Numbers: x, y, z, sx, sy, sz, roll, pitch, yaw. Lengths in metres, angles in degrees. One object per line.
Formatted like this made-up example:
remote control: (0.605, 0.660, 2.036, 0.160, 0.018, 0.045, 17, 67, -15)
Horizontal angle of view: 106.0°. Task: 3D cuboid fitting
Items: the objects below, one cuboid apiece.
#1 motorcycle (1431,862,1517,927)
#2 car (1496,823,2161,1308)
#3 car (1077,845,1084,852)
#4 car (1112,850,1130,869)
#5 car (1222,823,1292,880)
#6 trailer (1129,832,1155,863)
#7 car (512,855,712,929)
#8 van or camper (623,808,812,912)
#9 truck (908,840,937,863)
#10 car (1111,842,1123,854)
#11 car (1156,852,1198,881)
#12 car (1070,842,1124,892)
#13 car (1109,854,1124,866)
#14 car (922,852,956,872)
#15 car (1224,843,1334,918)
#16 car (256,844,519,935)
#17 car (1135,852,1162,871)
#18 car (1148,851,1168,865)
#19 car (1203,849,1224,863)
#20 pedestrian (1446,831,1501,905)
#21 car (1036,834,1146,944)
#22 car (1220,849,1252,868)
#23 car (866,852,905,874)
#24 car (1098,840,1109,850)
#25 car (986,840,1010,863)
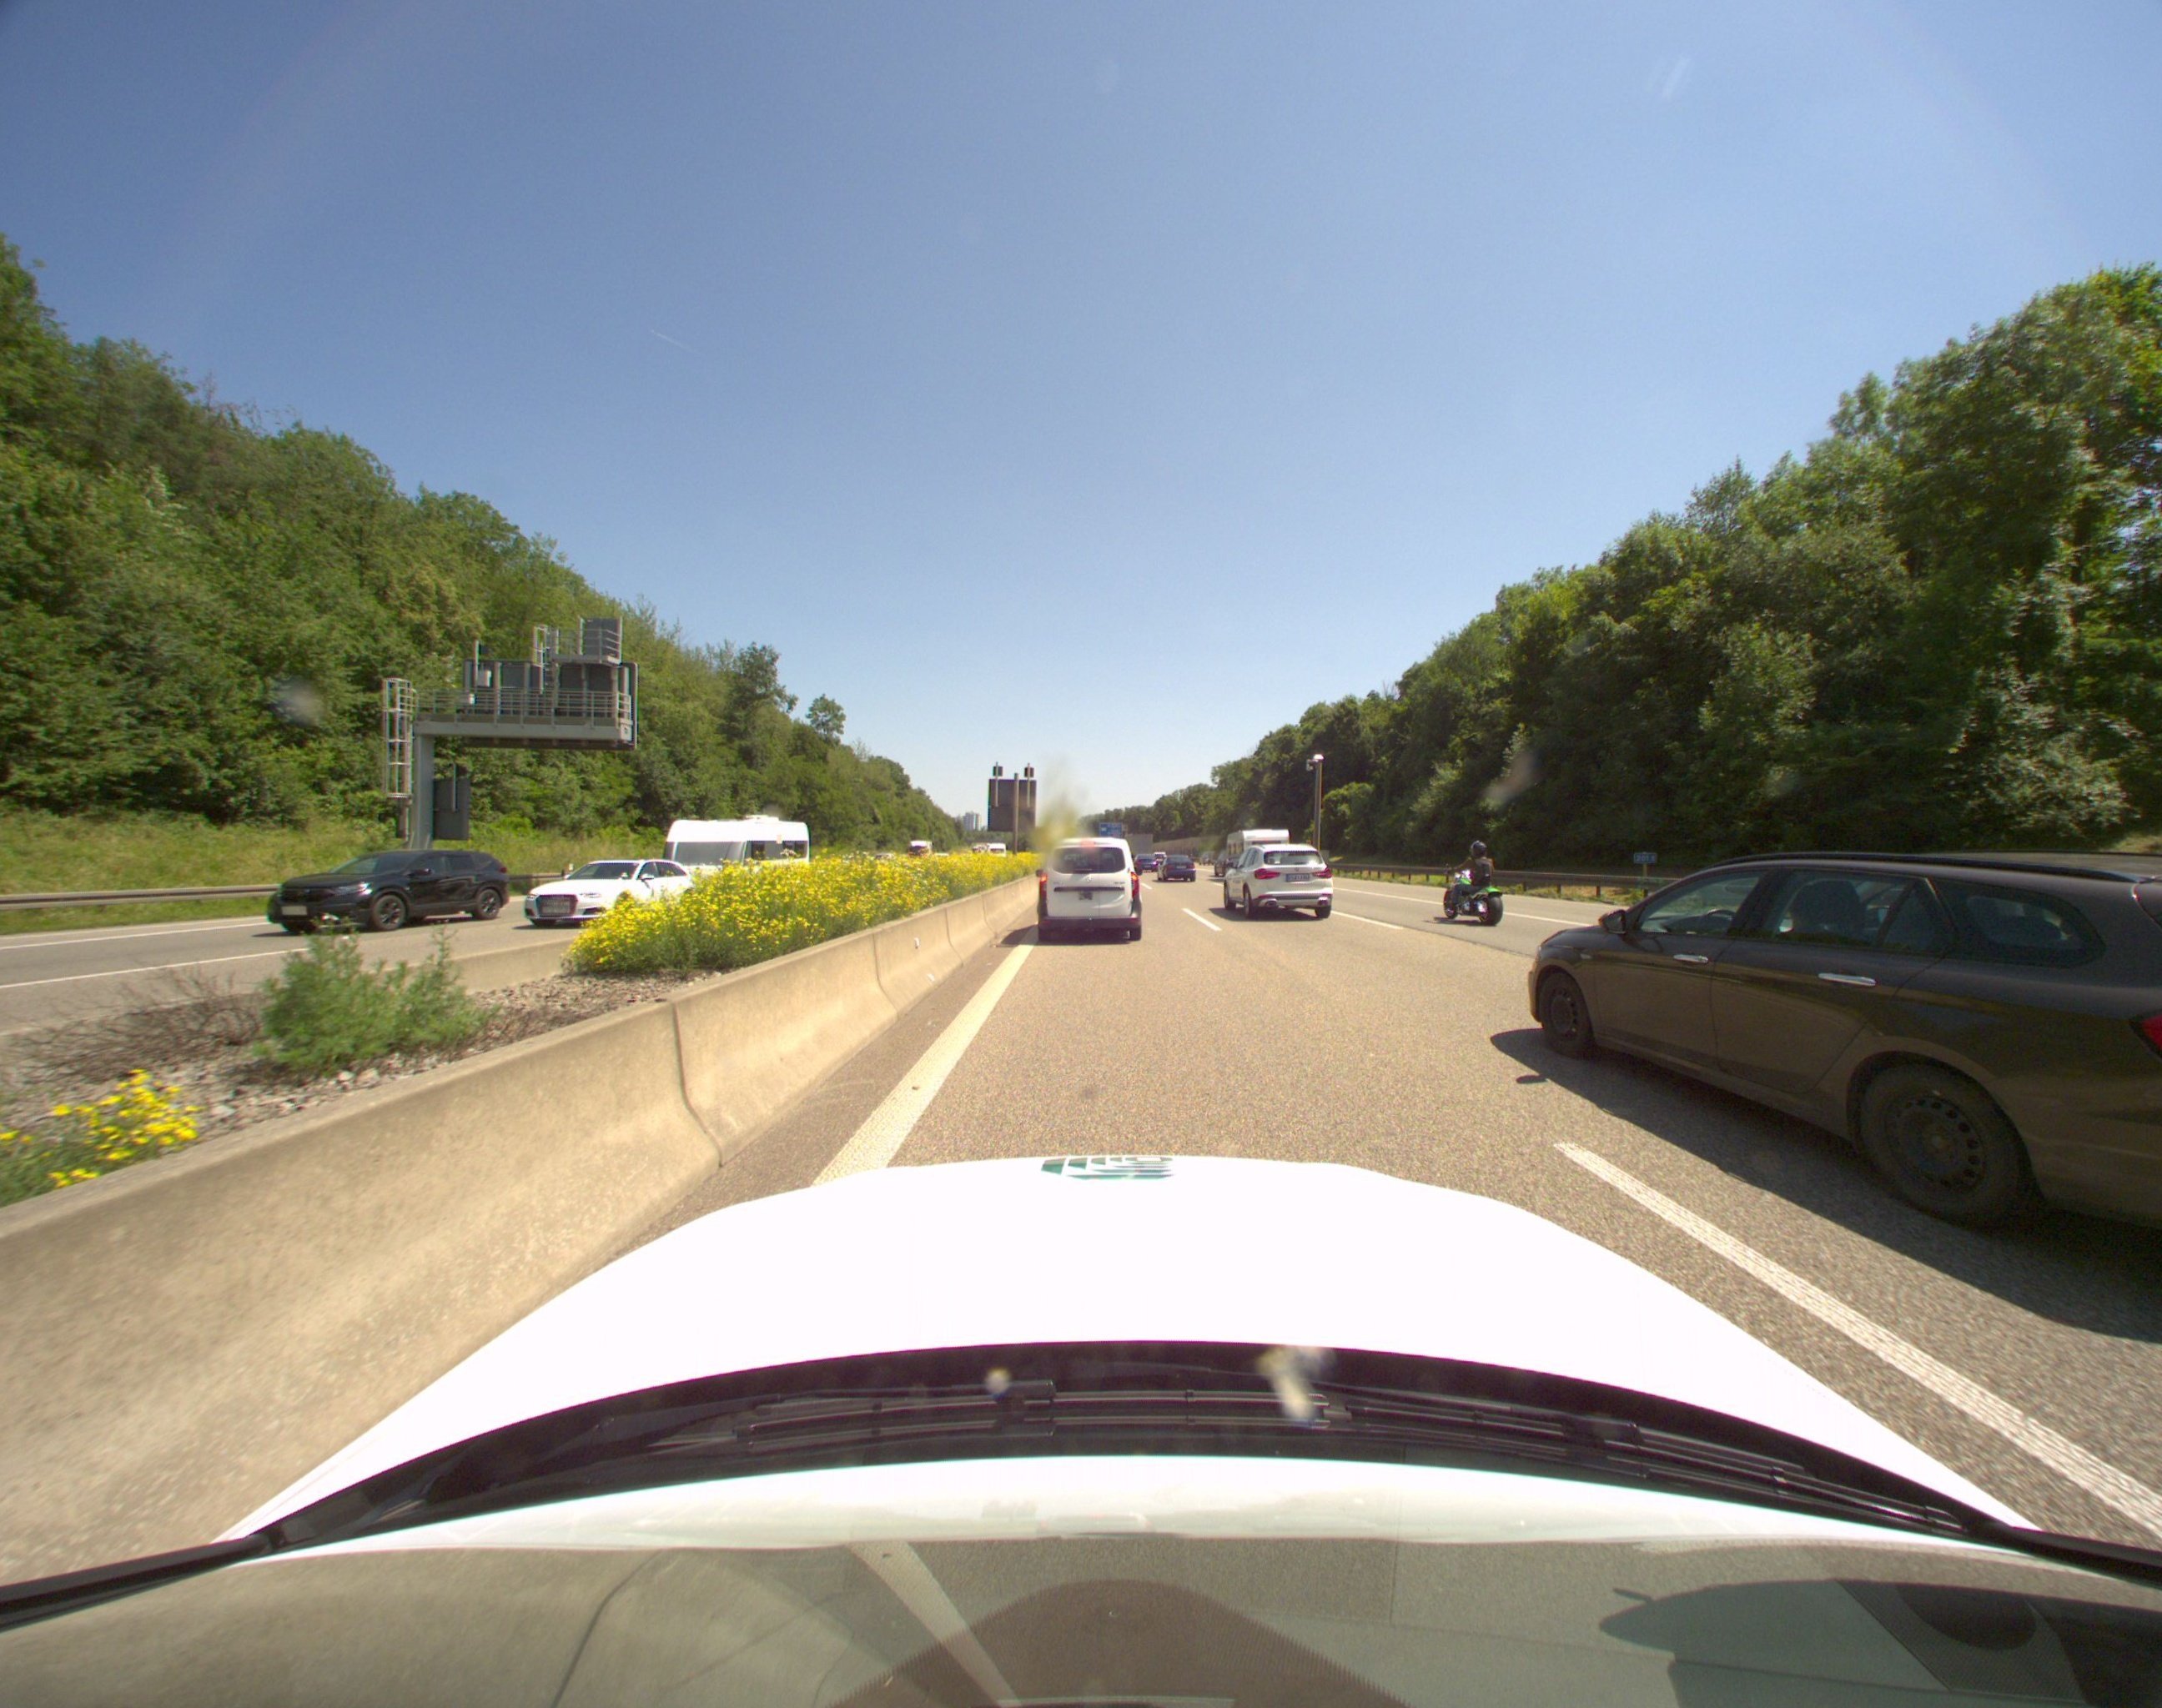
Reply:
motorcycle: (7.993, 0.776, 16.680, 0.855, 1.181, 2.280, 0, 1, 6)
car: (4.318, 0.633, 4.531, 1.832, 1.513, 4.402, 0, 1, 1)
car: (-0.194, -1.633, 243.717, 1.986, 2.013, 4.001, 0, 0, 1)
car: (4.252, 0.562, 87.019, 1.817, 1.989, 4.001, 0, 0, 1)
car: (9.216, -0.122, 43.211, 2.470, 2.765, 6.221, 0, 0, 1)
trailer: (8.166, -0.896, 110.225, 3.071, 3.985, 10.326, 0, 0, 1)
car: (-10.366, 0.754, 18.480, 1.749, 1.439, 4.611, -1, 0, 2)
van or camper: (-10.506, 0.140, 24.512, 2.301, 2.636, 7.399, -1, 0, 0)
truck: (-21.458, -0.393, 110.660, 2.398, 3.005, 7.458, 0, 0, 0)
car: (6.664, -1.106, 151.361, 1.986, 2.013, 4.001, -1, 0, 1)
car: (4.955, 0.608, 42.401, 1.817, 1.424, 4.001, 0, 0, 1)
car: (0.647, 0.495, 32.642, 1.986, 1.860, 4.001, 0, 0, 1)
car: (4.689, 0.760, 107.785, 1.817, 1.447, 4.001, 0, 0, 1)
car: (-11.531, 0.621, 66.434, 1.986, 1.574, 4.001, -1, 0, 1)
car: (4.608, 0.565, 19.468, 1.863, 1.608, 3.882, 0, 0, 3)
car: (-14.483, 0.656, 17.429, 1.749, 1.696, 4.424, -1, 0, 2)
car: (5.174, 0.553, 62.734, 1.817, 1.424, 4.001, 0, 0, 1)
car: (8.414, 0.414, 89.234, 1.817, 1.424, 4.001, 0, 0, 1)
car: (14.839, 0.248, 91.529, 1.781, 1.519, 4.002, 0, 0, 2)
pedestrian: (7.989, 0.281, 16.593, 0.847, 1.478, 0.639, 0, 1, 5)
car: (0.197, 0.570, 15.447, 1.796, 1.808, 4.000, 0, 0, 1)
car: (11.887, 0.348, 62.672, 1.817, 1.424, 4.001, 0, 0, 1)
car: (-15.075, 0.673, 62.987, 1.986, 1.574, 4.001, -1, 0, 1)
car: (4.586, -1.918, 168.134, 1.989, 2.013, 3.996, -1, 0, -2)
car: (-9.487, -0.261, 93.585, 1.986, 2.541, 5.911, -1, 0, 1)
